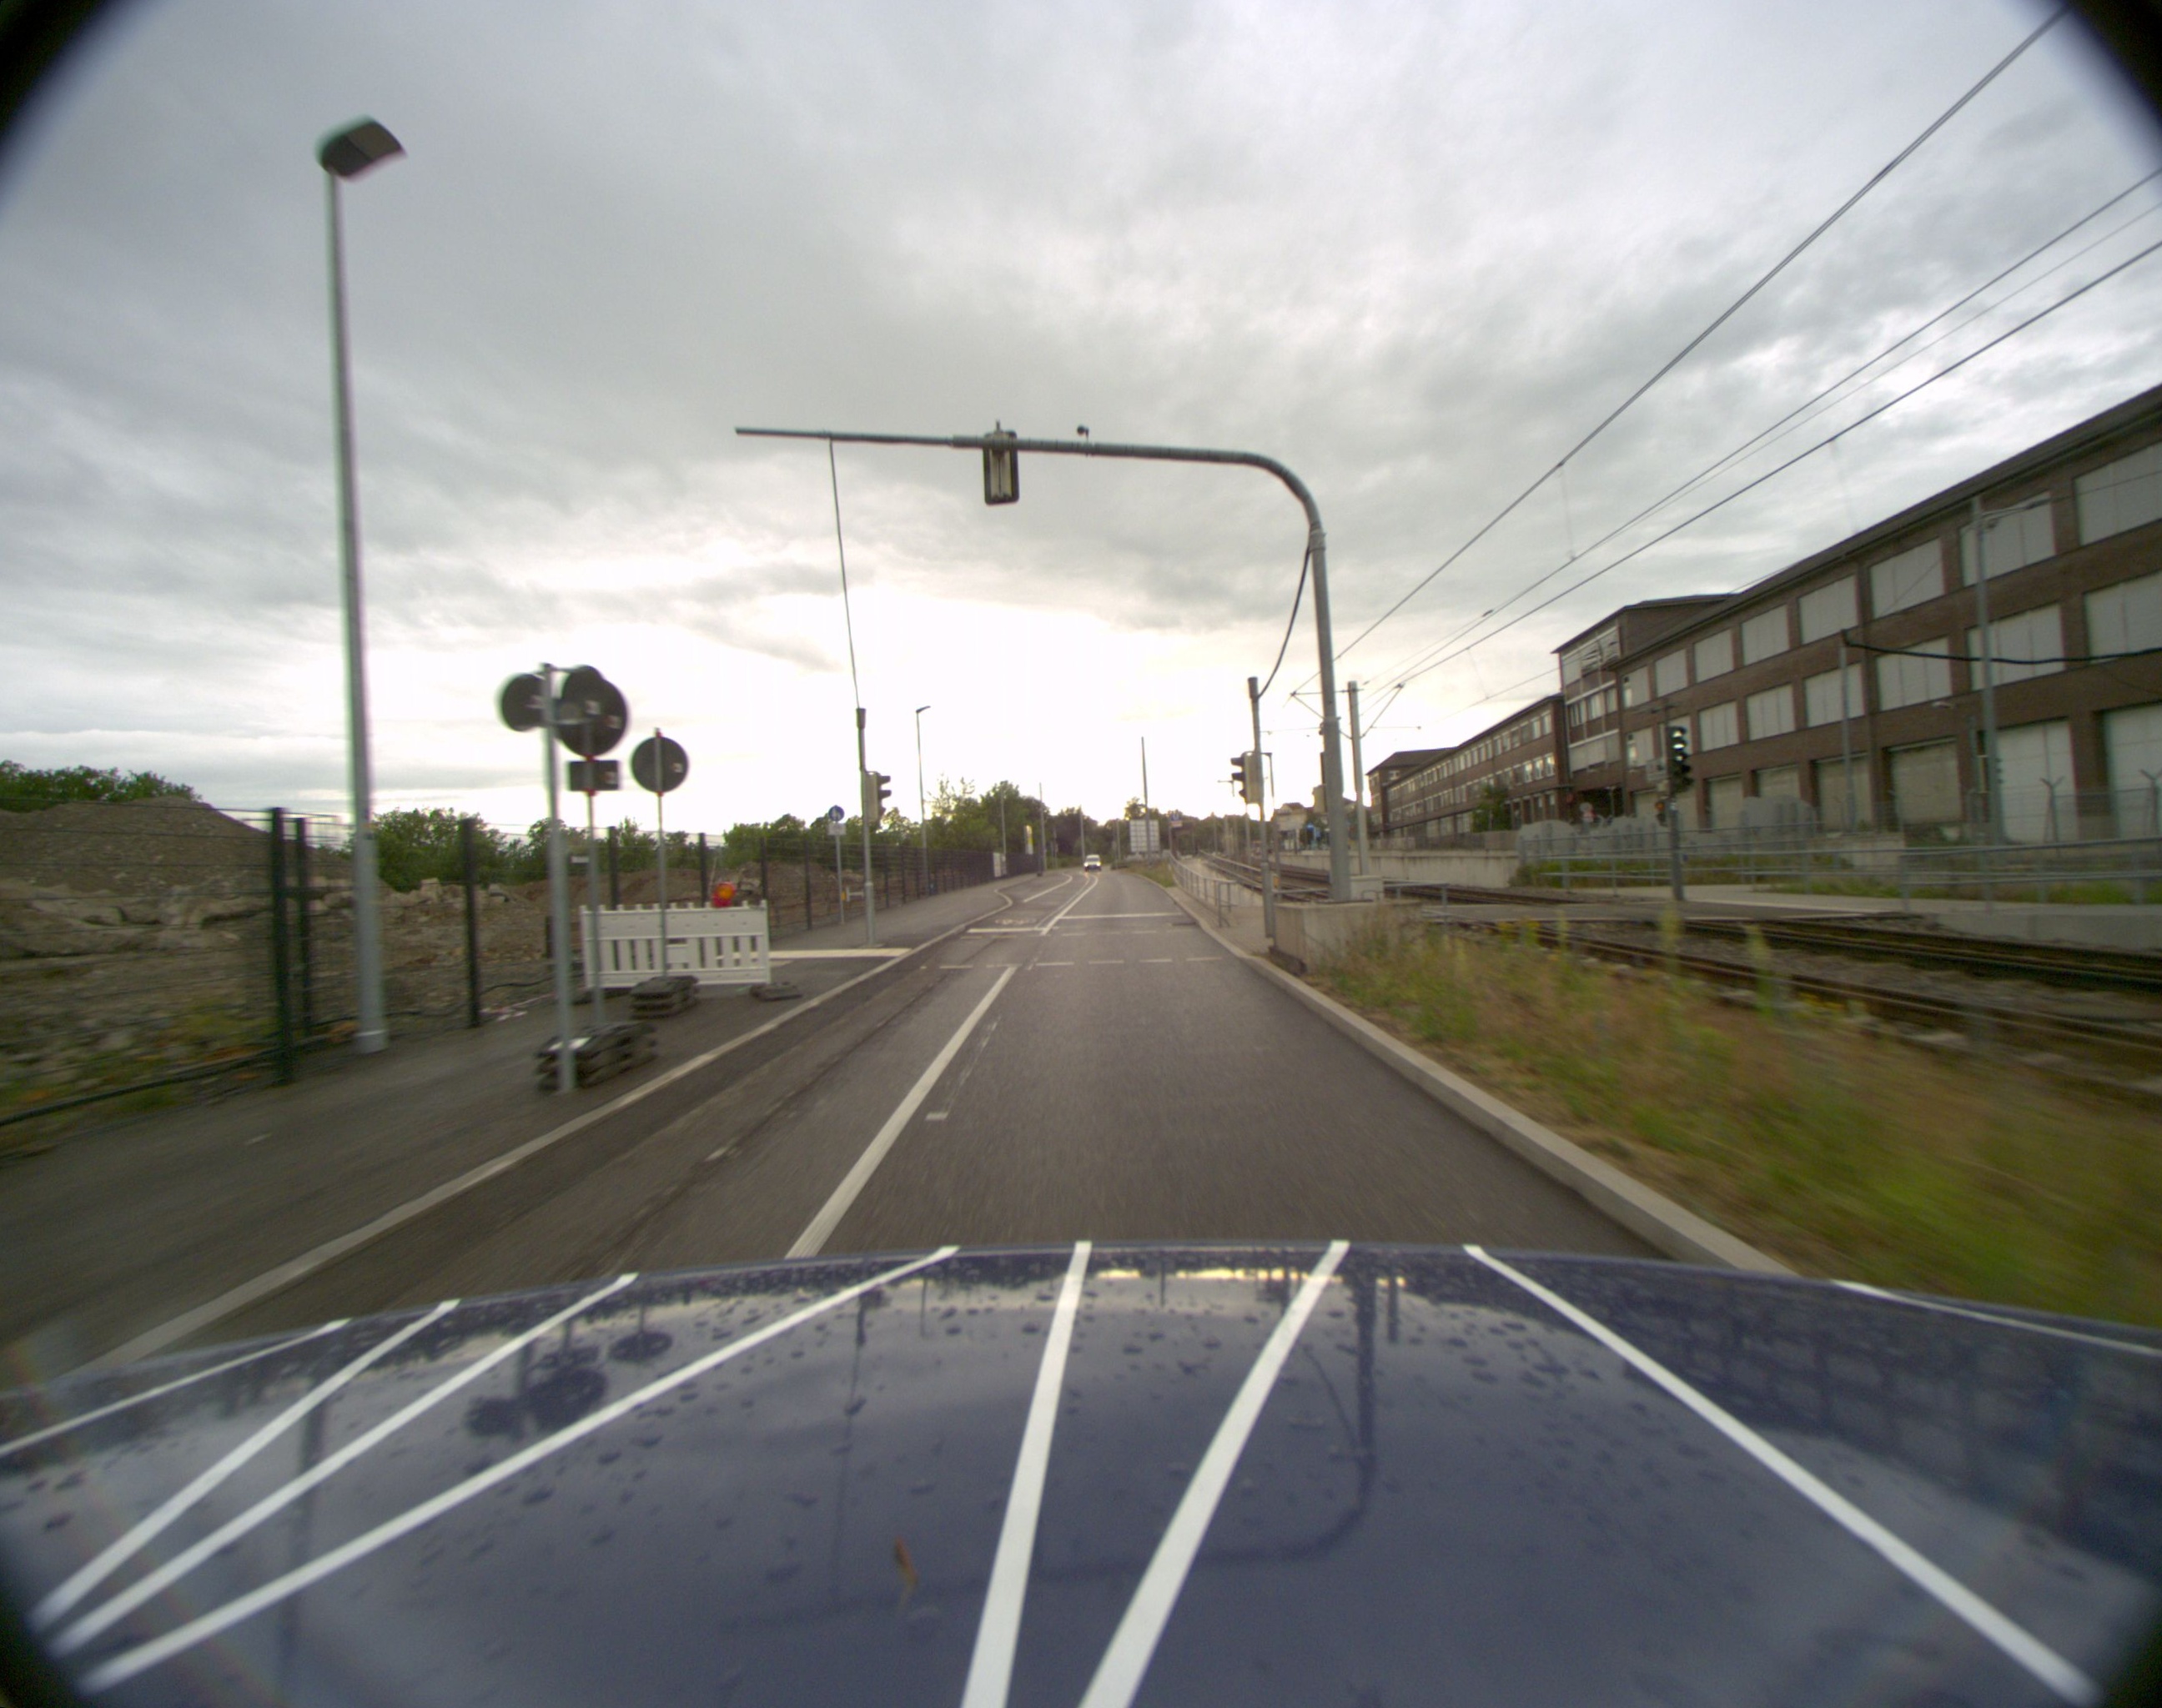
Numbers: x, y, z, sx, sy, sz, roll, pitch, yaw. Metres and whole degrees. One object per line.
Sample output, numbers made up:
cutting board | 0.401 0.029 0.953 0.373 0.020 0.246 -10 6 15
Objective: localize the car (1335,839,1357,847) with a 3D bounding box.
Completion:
car | 60.858 -2.497 174.445 4.573 1.750 2.002 -3 0 11

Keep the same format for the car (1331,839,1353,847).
car | 60.767 -2.517 177.043 4.573 1.750 2.002 -3 0 11

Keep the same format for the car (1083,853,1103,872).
car | 1.370 0.899 86.132 1.999 2.002 3.998 -1 1 -3
